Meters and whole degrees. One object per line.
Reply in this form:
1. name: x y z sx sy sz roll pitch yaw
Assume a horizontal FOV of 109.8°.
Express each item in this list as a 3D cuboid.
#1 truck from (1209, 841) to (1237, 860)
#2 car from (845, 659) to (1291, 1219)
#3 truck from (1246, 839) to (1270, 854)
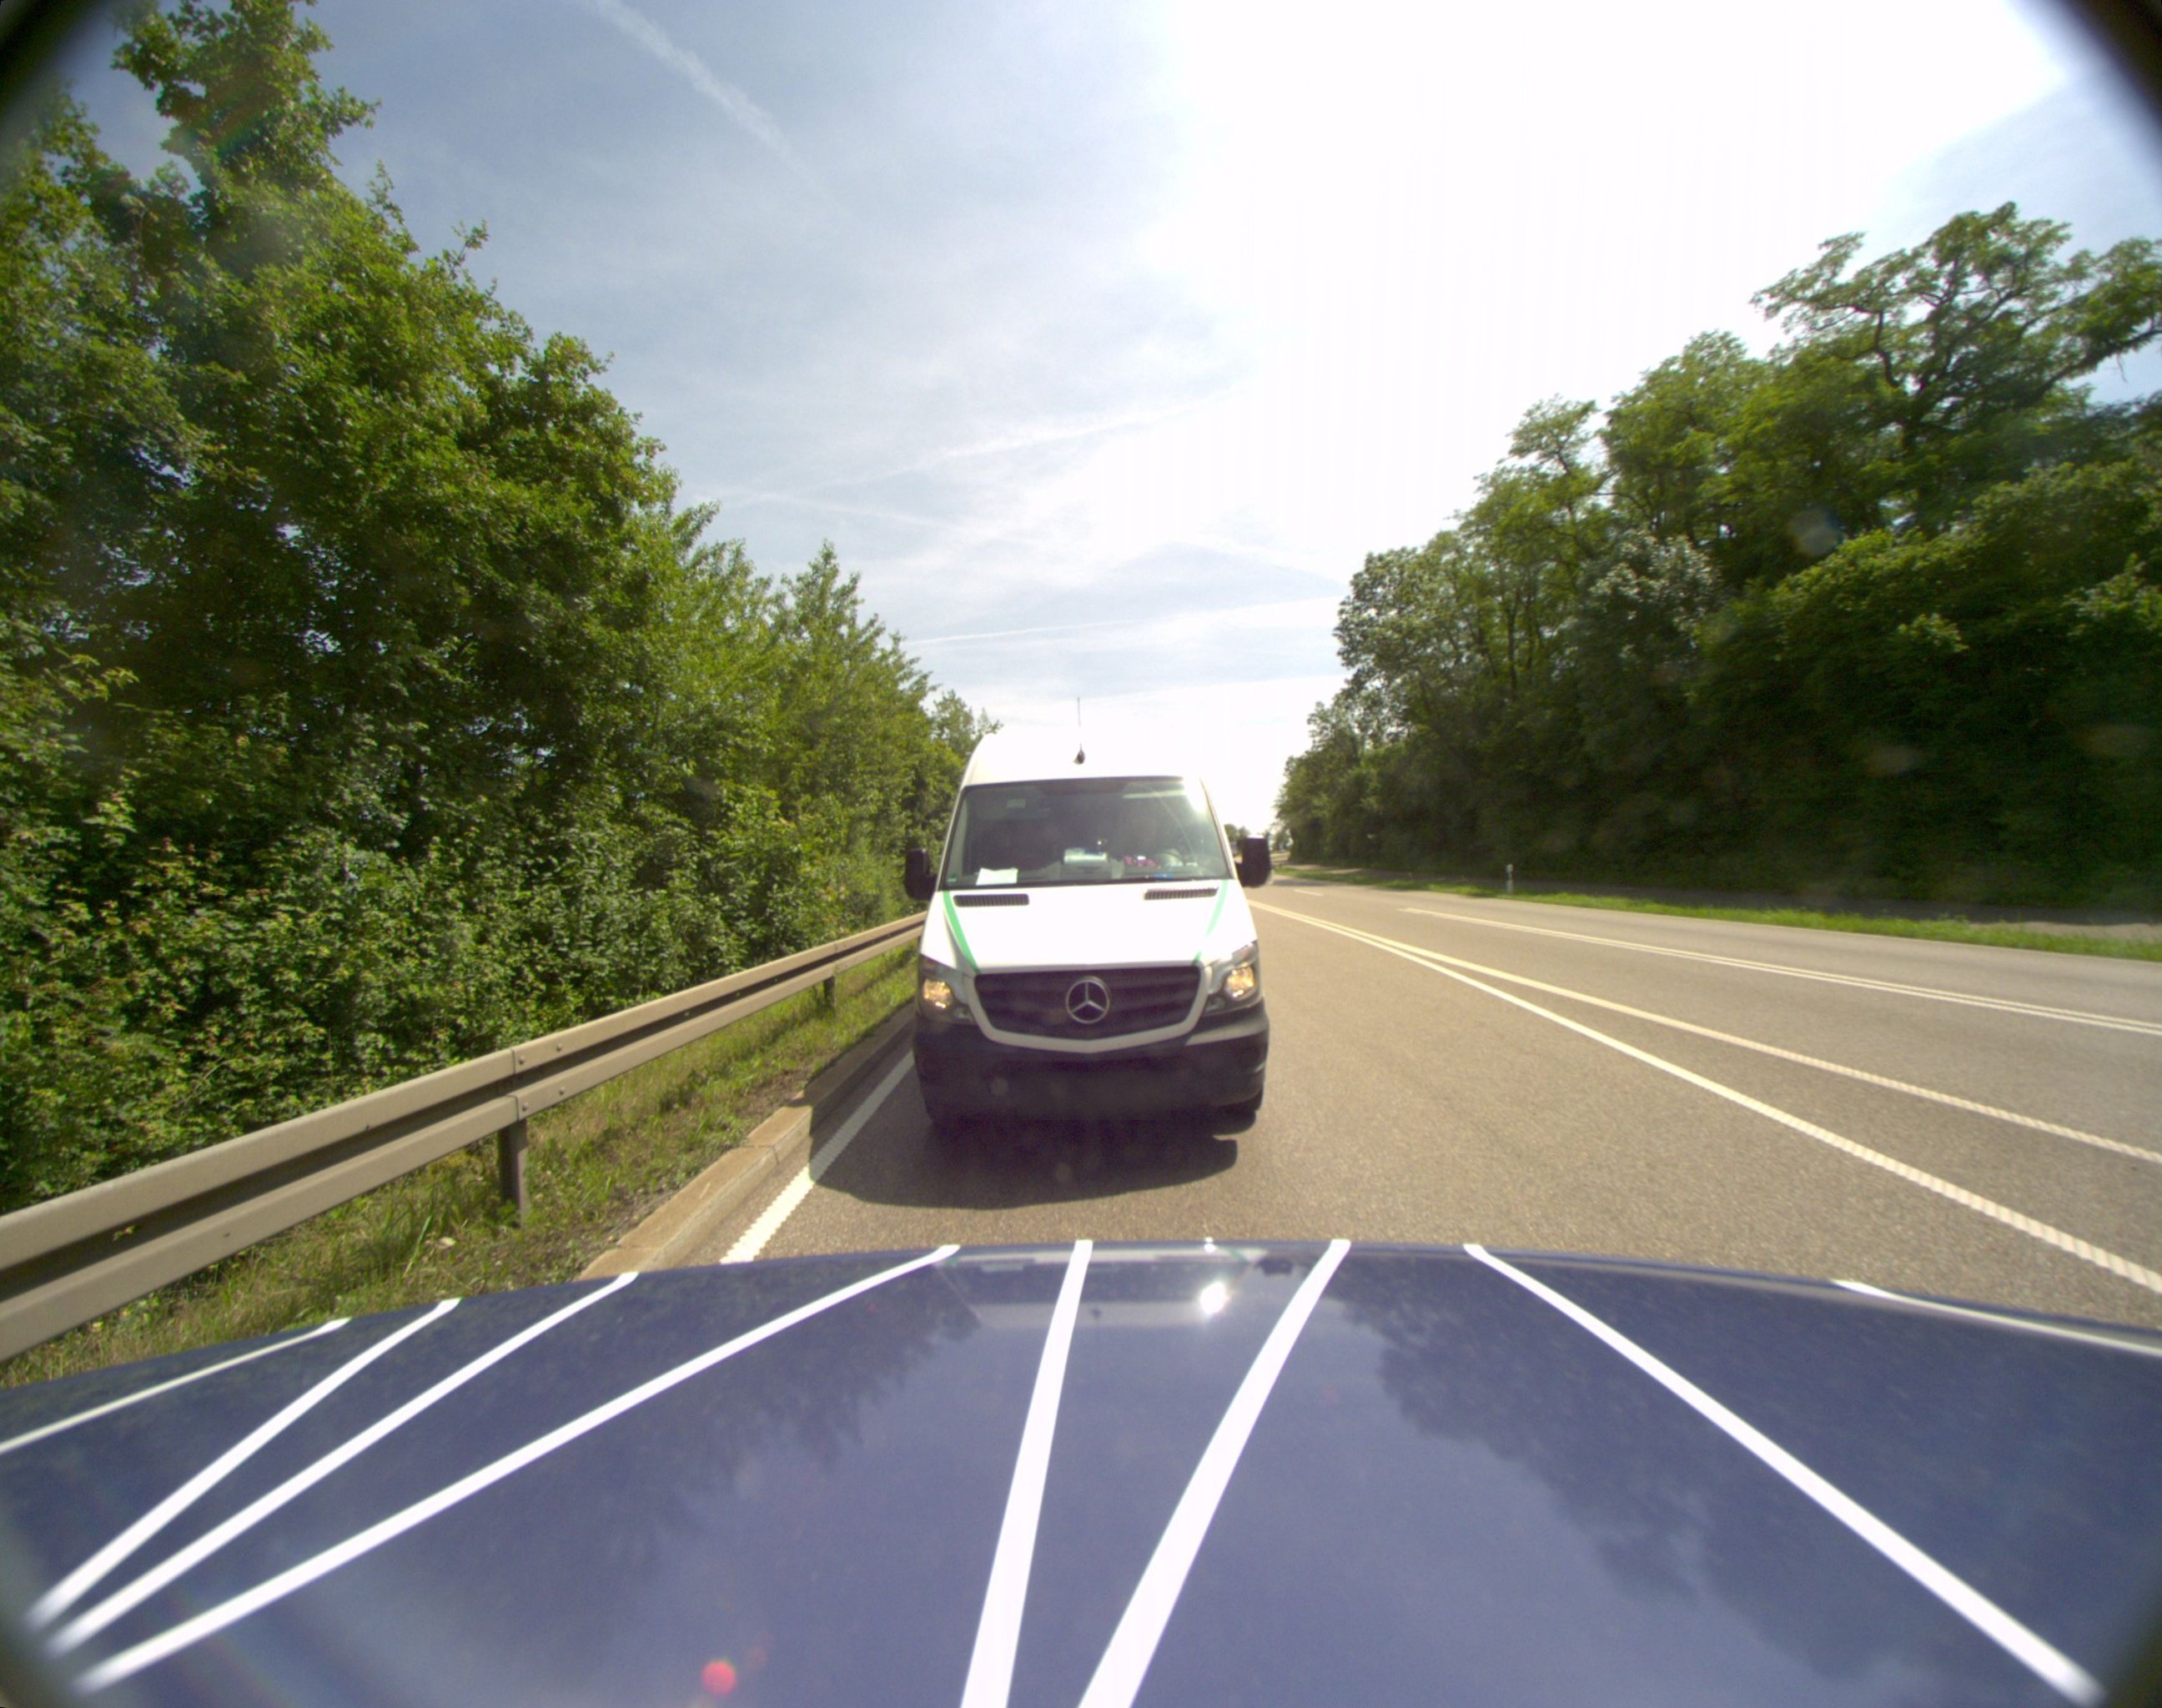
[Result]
1. truck: 35.941 -0.867 192.156 4.392 4.433 14.733 -2 0 20
2. car: 0.021 0.411 6.095 1.958 2.502 5.267 -2 0 2
3. truck: 54.348 -2.384 233.065 3.980 4.433 14.364 -2 0 25
